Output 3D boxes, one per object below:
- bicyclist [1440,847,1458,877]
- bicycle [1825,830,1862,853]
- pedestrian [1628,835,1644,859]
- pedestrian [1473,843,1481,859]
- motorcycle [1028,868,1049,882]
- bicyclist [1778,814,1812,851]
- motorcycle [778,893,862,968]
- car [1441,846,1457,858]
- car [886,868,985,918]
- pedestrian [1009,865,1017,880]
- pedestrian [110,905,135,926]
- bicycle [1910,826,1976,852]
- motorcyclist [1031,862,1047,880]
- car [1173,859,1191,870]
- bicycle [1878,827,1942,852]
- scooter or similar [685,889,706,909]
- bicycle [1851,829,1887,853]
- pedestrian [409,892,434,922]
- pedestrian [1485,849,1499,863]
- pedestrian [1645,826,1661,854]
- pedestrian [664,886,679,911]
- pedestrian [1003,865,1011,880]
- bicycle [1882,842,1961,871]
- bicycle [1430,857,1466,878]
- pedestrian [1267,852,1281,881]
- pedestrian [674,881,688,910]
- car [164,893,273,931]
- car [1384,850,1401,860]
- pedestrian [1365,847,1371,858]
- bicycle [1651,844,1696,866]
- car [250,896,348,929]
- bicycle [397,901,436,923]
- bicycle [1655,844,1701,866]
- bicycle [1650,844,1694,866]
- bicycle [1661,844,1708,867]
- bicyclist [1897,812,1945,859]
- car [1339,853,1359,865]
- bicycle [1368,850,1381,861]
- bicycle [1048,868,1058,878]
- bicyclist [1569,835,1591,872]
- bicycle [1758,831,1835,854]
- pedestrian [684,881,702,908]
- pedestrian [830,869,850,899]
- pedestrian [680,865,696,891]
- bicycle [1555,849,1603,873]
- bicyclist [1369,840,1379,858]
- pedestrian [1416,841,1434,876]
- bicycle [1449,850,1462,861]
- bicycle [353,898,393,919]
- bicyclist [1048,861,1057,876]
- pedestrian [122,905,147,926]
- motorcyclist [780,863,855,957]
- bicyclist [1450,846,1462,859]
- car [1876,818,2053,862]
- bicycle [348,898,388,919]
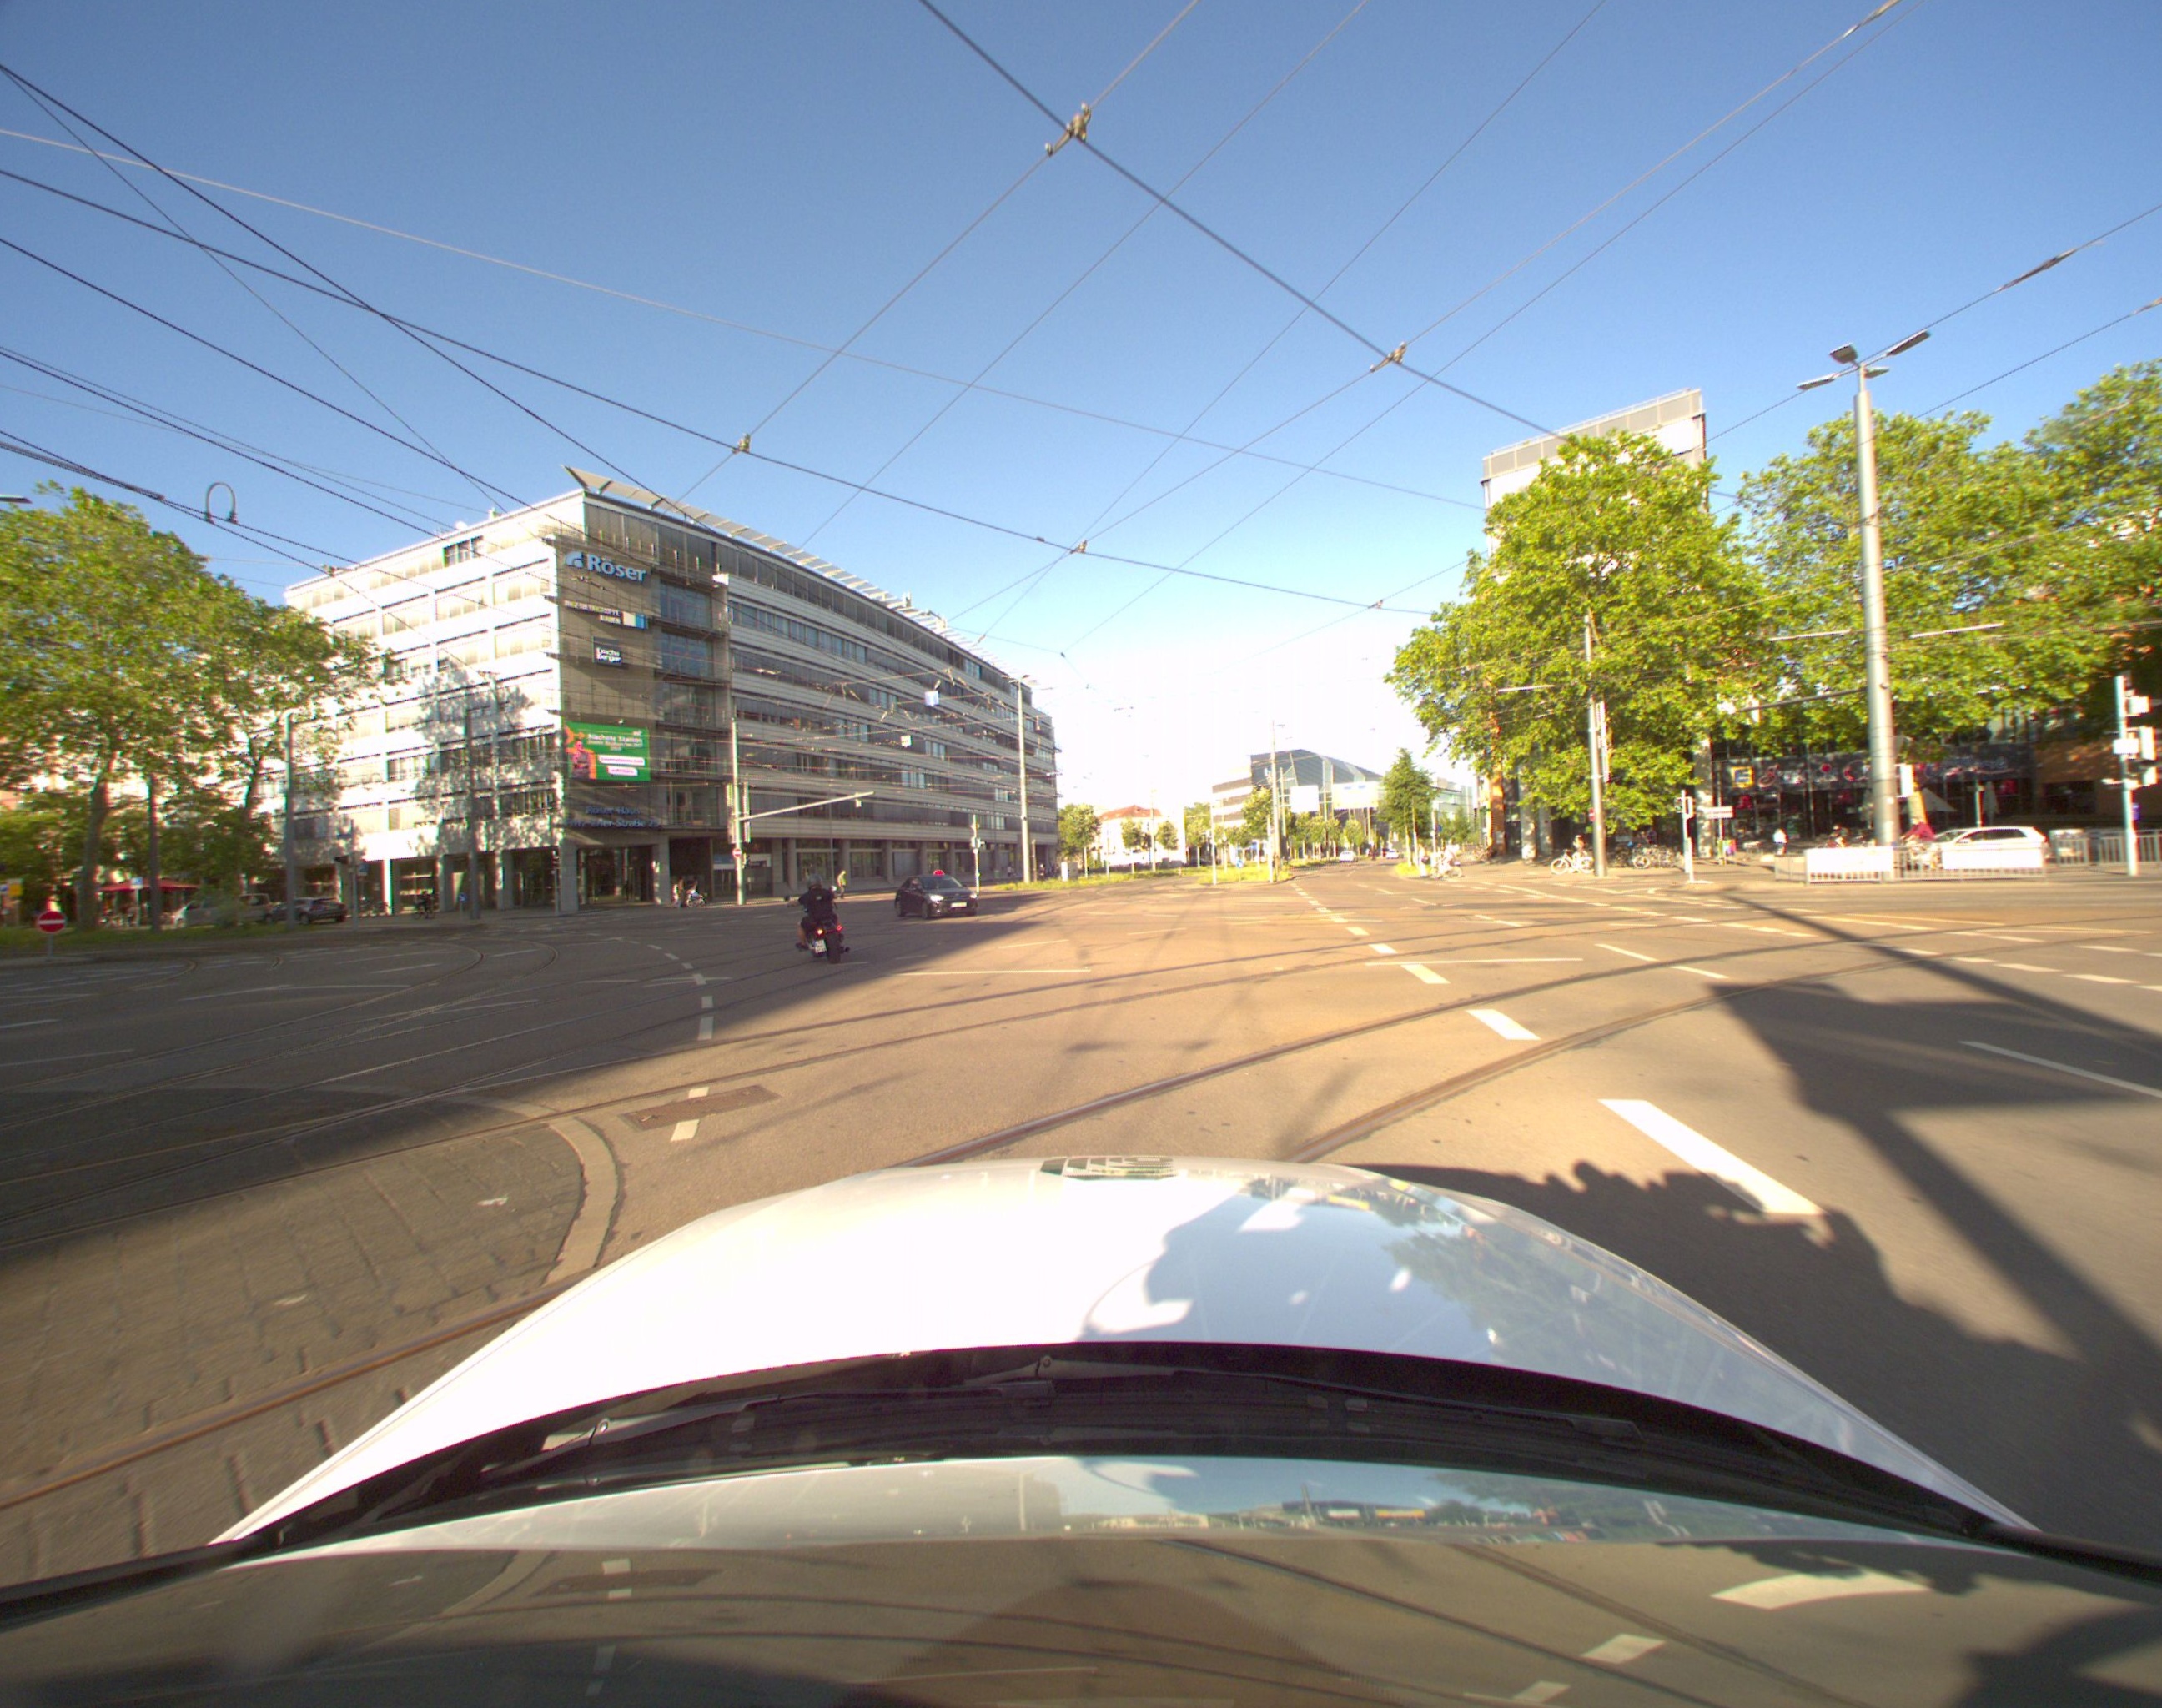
[{"bbox_3d":[18.835,0.408,41.708,0.736,1.503,0.573,-3,-2,19],"label":"bicyclist"},{"bbox_3d":[38.449,-0.641,41.053,2.947,1.091,0.868,-3,0,-38],"label":"bicycle"},{"bbox_3d":[35.644,-0.455,52.270,0.768,1.527,0.567,-3,-1,37],"label":"pedestrian"},{"bbox_3d":[41.288,-0.295,84.850,0.699,1.569,0.626,-3,-1,26],"label":"pedestrian"},{"bbox_3d":[-4.302,2.127,82.871,0.975,1.232,2.959,-3,-1,22],"label":"motorcycle"},{"bbox_3d":[38.337,-1.156,43.732,1.214,1.931,0.840,-3,-1,35],"label":"bicyclist"},{"bbox_3d":[-4.721,1.304,14.581,1.011,1.125,2.301,-1,0,-29],"label":"motorcycle"},{"bbox_3d":[59.008,-0.331,130.596,2.033,1.874,4.252,-2,-1,28],"label":"car"},{"bbox_3d":[-4.997,1.279,27.477,1.804,1.466,4.267,-3,0,-32],"label":"car"},{"bbox_3d":[-7.702,2.089,92.132,0.544,1.733,0.644,-3,-1,17],"label":"pedestrian"},{"bbox_3d":[-73.099,4.694,62.102,0.983,1.546,0.877,-2,-1,18],"label":"pedestrian"},{"bbox_3d":[40.860,-0.725,38.602,2.930,1.091,0.873,-2,0,-17],"label":"bicycle"},{"bbox_3d":[-4.258,1.706,82.993,1.010,1.731,1.468,-3,-1,22],"label":"motorcyclist"},{"bbox_3d":[20.939,2.170,169.044,2.003,2.013,3.967,-2,-1,-25],"label":"car"},{"bbox_3d":[39.957,-0.694,39.256,2.930,1.091,0.873,-2,0,-17],"label":"bicycle"},{"bbox_3d":[-23.457,2.716,49.573,1.018,1.129,0.547,-2,-1,-18],"label":"scooter or similar"},{"bbox_3d":[39.116,-0.662,40.393,2.947,1.091,0.868,-3,0,-38],"label":"bicycle"},{"bbox_3d":[-37.017,2.975,45.697,0.829,1.611,0.609,-1,2,14],"label":"pedestrian"},{"bbox_3d":[31.889,0.178,63.196,0.776,1.057,0.819,-3,-1,33],"label":"pedestrian"},{"bbox_3d":[37.990,-0.904,54.066,0.839,1.852,0.815,0,0,34],"label":"pedestrian"},{"bbox_3d":[-24.304,2.627,48.340,0.638,1.402,0.543,-2,-1,-19],"label":"pedestrian"},{"bbox_3d":[-8.363,2.101,92.155,0.544,1.733,0.644,-3,-1,17],"label":"pedestrian"},{"bbox_3d":[29.760,0.090,28.851,1.839,0.910,0.655,-2,-1,15],"label":"bicycle"},{"bbox_3d":[18.805,0.703,41.731,1.614,1.021,0.519,-3,-2,20],"label":"bicycle"},{"bbox_3d":[10.682,0.707,45.032,0.652,1.582,0.491,-2,0,14],"label":"pedestrian"},{"bbox_3d":[-24.257,2.490,49.332,0.638,1.708,0.578,-2,-1,-19],"label":"pedestrian"},{"bbox_3d":[-49.577,3.325,46.850,4.875,1.843,1.935,-3,1,12],"label":"car"},{"bbox_3d":[49.342,0.187,129.049,1.996,1.376,4.063,-3,-1,29],"label":"car"},{"bbox_3d":[47.032,-0.284,133.352,0.635,1.819,0.633,-3,-1,43],"label":"pedestrian"},{"bbox_3d":[29.026,0.050,39.893,1.689,0.986,0.393,-3,-1,24],"label":"bicycle"},{"bbox_3d":[-44.001,3.288,45.834,4.367,1.572,1.873,-3,1,15],"label":"car"},{"bbox_3d":[-37.136,3.224,45.500,1.829,1.163,0.615,-1,3,12],"label":"bicycle"},{"bbox_3d":[28.619,0.045,39.049,1.689,0.986,0.393,-3,-1,24],"label":"bicycle"},{"bbox_3d":[29.237,0.052,40.316,1.689,0.986,0.393,-3,-1,24],"label":"bicycle"},{"bbox_3d":[28.310,0.061,38.227,1.689,0.986,0.393,-3,-1,24],"label":"bicycle"},{"bbox_3d":[29.759,-0.658,28.863,0.919,1.615,0.640,-2,-1,14],"label":"bicyclist"},{"bbox_3d":[34.153,0.631,103.646,1.884,1.508,4.023,-1,-1,26],"label":"car"},{"bbox_3d":[42.735,0.221,118.625,1.006,1.579,3.597,-3,-1,30],"label":"bicycle"},{"bbox_3d":[-3.136,2.131,90.720,0.638,1.107,1.691,-2,-1,13],"label":"bicycle"},{"bbox_3d":[23.751,-0.012,38.776,0.736,1.694,0.573,-3,-2,22],"label":"bicyclist"},{"bbox_3d":[38.368,-0.608,43.728,3.011,1.113,0.840,-3,-1,35],"label":"bicycle"},{"bbox_3d":[-24.111,2.536,50.658,0.715,1.617,0.658,-3,-1,20],"label":"pedestrian"},{"bbox_3d":[-15.251,1.916,51.484,0.876,1.823,0.680,-4,-2,16],"label":"pedestrian"},{"bbox_3d":[-26.416,1.600,54.715,0.638,1.715,0.694,-2,-1,23],"label":"pedestrian"},{"bbox_3d":[23.708,0.337,38.777,1.836,1.021,0.519,-3,-2,22],"label":"bicycle"},{"bbox_3d":[42.682,-0.700,118.581,1.006,2.624,1.481,-3,-1,30],"label":"bicyclist"},{"bbox_3d":[18.530,0.241,43.824,0.518,1.837,0.694,0,-2,-44],"label":"pedestrian"},{"bbox_3d":[39.670,0.145,86.278,1.031,1.133,3.197,-2,-1,21],"label":"bicycle"},{"bbox_3d":[-43.929,3.377,50.546,0.465,1.151,1.847,-2,1,18],"label":"bicycle"},{"bbox_3d":[-3.151,1.604,90.781,0.758,1.667,0.997,-2,-1,13],"label":"bicyclist"},{"bbox_3d":[-71.812,4.666,61.810,0.983,1.546,0.876,-2,-1,15],"label":"pedestrian"},{"bbox_3d":[-4.728,0.958,14.558,1.028,1.552,1.274,-1,-1,-29],"label":"motorcyclist"},{"bbox_3d":[39.642,-0.178,86.109,1.031,1.381,1.572,-2,-1,21],"label":"bicyclist"},{"bbox_3d":[32.600,-0.475,30.192,3.957,1.486,2.008,-1,-1,15],"label":"car"},{"bbox_3d":[-44.381,3.387,50.684,0.465,1.151,1.847,-2,1,18],"label":"bicycle"}]
